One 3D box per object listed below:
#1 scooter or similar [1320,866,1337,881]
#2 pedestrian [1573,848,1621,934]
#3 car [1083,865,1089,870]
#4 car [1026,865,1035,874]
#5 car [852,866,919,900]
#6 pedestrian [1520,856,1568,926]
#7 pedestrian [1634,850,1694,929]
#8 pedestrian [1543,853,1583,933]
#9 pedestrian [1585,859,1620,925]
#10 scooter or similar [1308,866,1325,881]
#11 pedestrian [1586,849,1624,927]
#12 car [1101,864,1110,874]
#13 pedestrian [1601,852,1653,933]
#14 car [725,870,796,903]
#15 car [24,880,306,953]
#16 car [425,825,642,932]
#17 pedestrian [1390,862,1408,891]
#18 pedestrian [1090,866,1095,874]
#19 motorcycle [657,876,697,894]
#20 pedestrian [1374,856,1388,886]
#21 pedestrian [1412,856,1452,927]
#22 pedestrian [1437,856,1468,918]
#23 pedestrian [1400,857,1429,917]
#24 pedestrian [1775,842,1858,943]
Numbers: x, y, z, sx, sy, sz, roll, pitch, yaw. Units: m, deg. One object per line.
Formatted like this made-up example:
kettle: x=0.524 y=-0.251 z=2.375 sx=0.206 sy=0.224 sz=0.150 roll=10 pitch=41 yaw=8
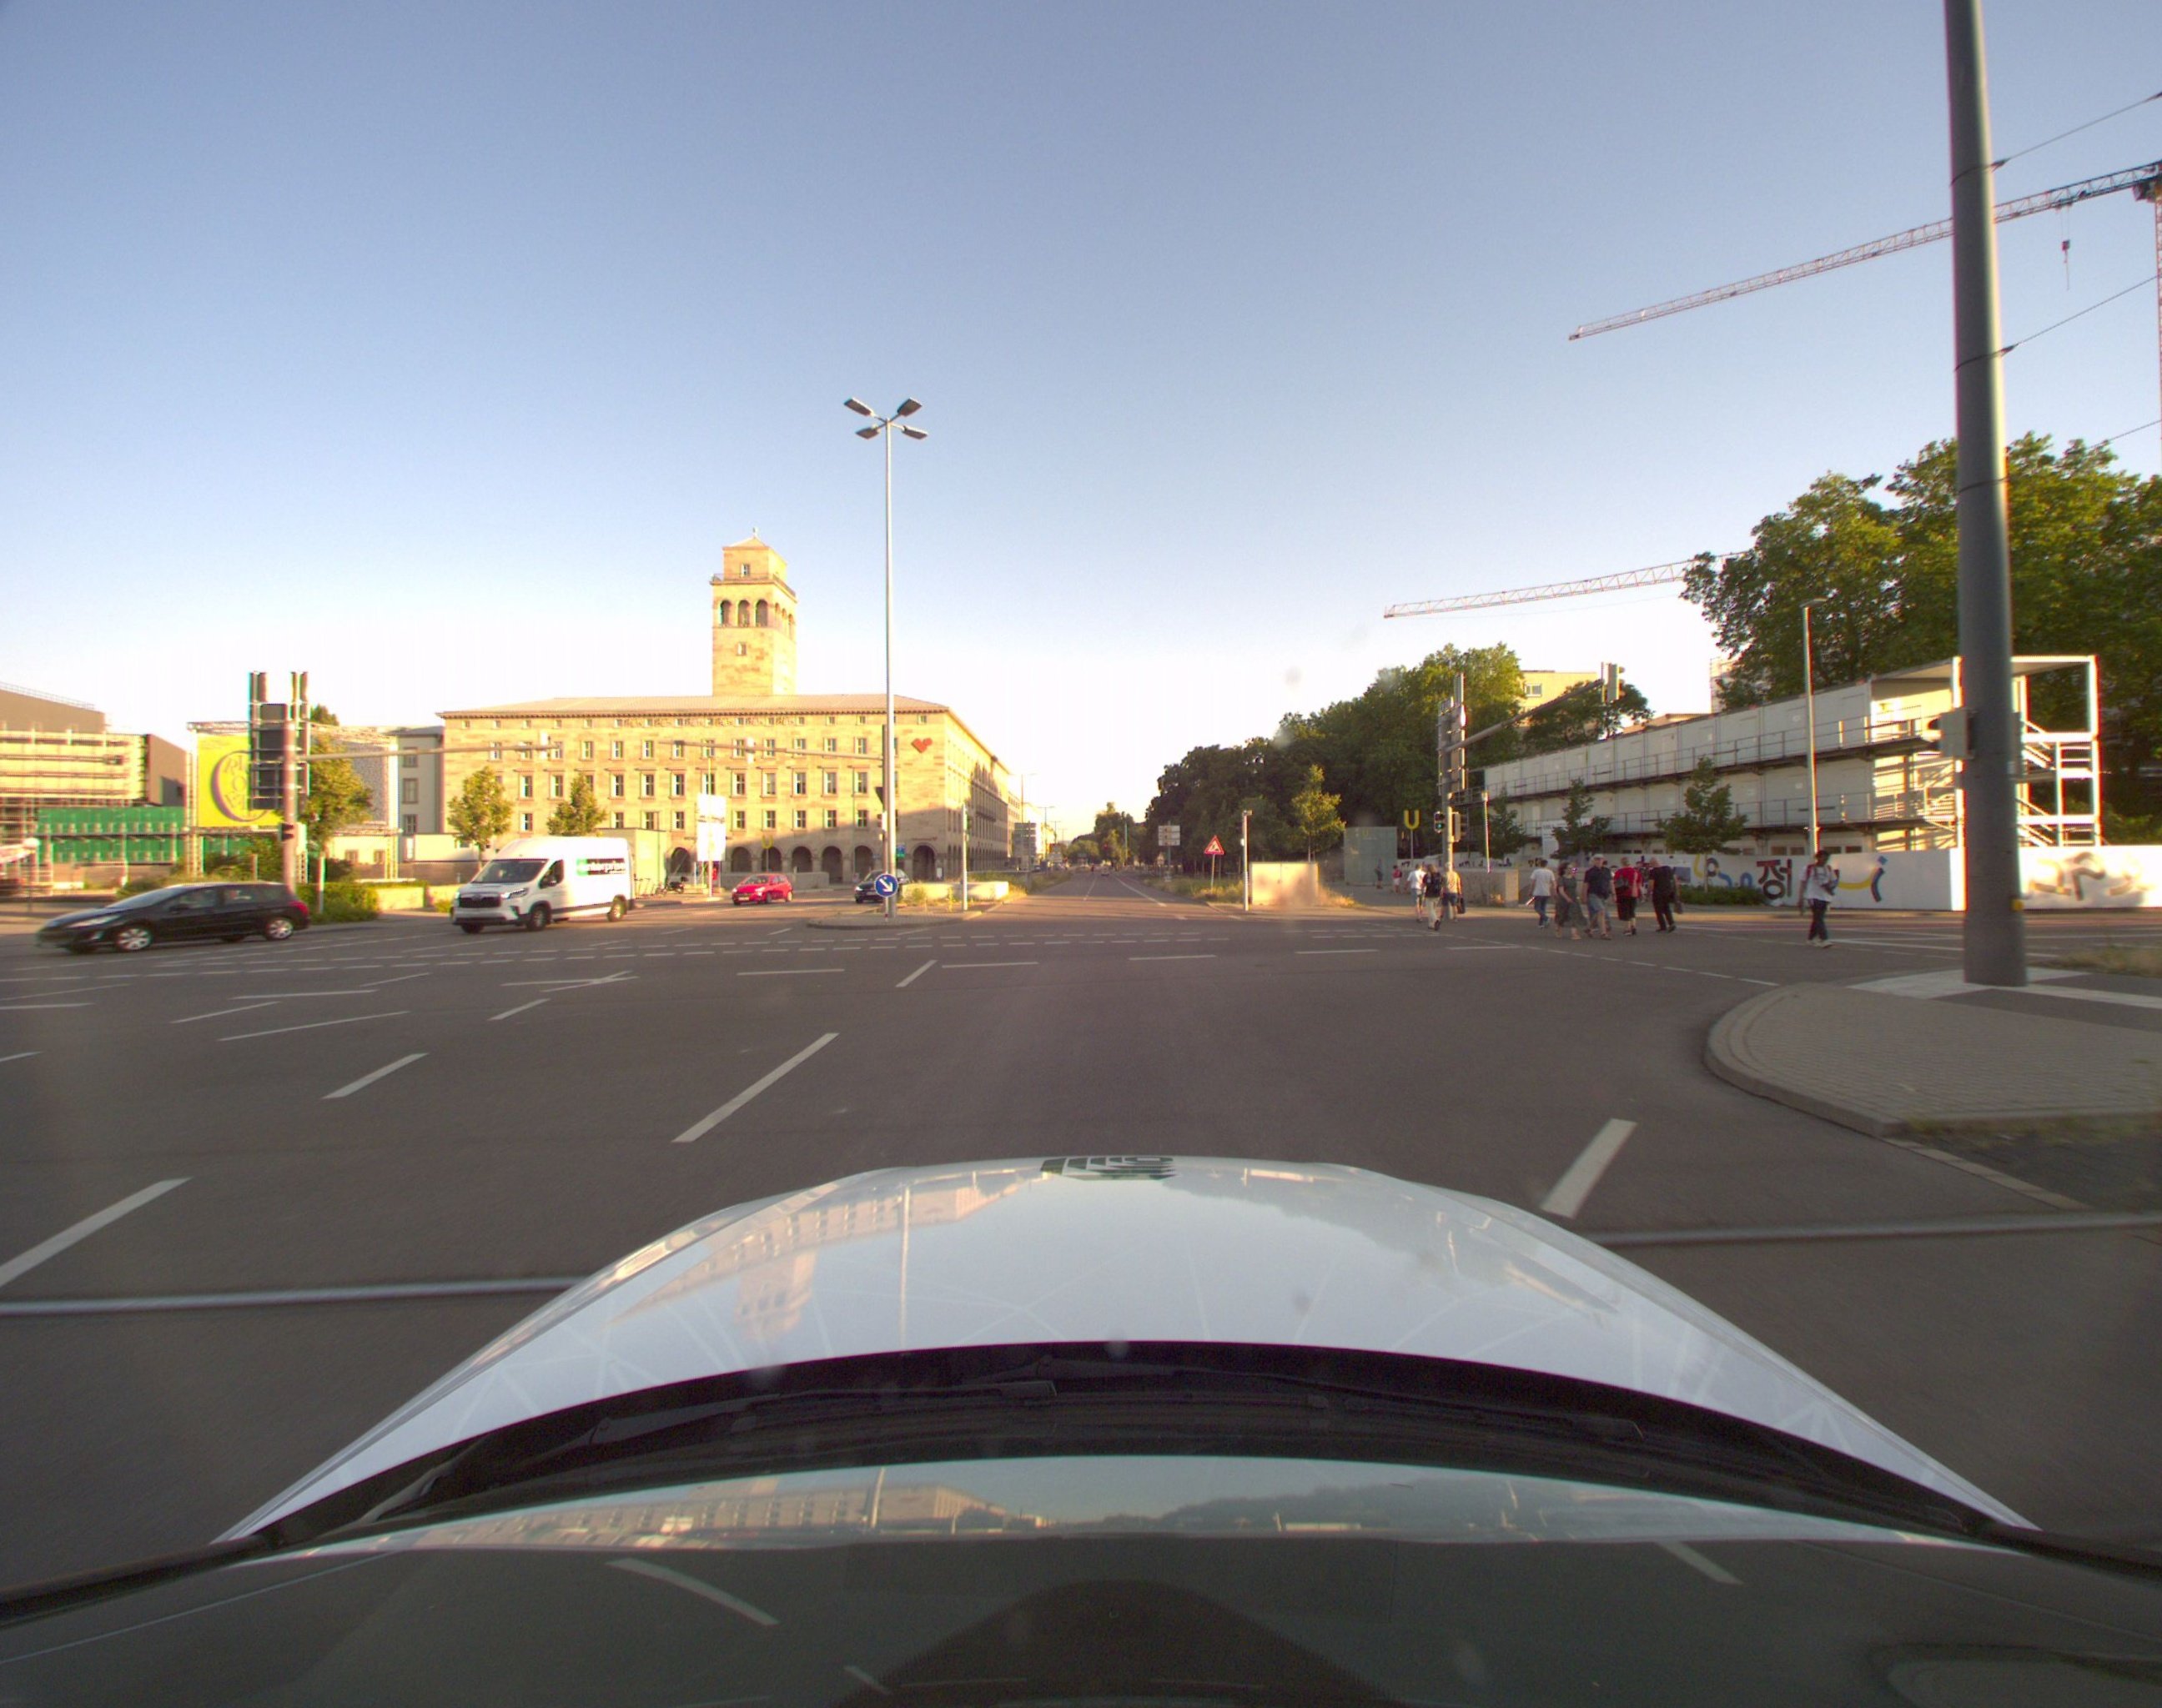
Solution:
scooter or similar: x=21.422 y=1.667 z=70.571 sx=0.567 sy=1.203 sz=2.983 roll=-1 pitch=-1 yaw=0
pedestrian: x=10.966 y=0.766 z=17.329 sx=0.674 sy=1.757 sz=0.907 roll=-1 pitch=-1 yaw=21
car: x=1.331 y=3.212 z=198.367 sx=1.364 sy=1.234 sz=3.047 roll=-1 pitch=0 yaw=2
car: x=-10.170 y=3.099 z=163.847 sx=1.552 sy=1.590 sz=3.998 roll=-1 pitch=0 yaw=-1
car: x=-8.545 y=1.252 z=35.981 sx=1.815 sy=1.342 sz=4.002 roll=-1 pitch=0 yaw=3
pedestrian: x=11.752 y=0.920 z=20.703 sx=0.707 sy=1.725 sz=0.916 roll=-1 pitch=-1 yaw=4
pedestrian: x=13.485 y=0.814 z=18.861 sx=0.801 sy=1.791 sz=0.801 roll=-1 pitch=-1 yaw=3
pedestrian: x=10.337 y=0.816 z=17.485 sx=0.555 sy=1.655 sz=0.907 roll=-1 pitch=-1 yaw=21
pedestrian: x=13.355 y=0.963 z=20.872 sx=0.568 sy=1.679 sz=0.641 roll=-1 pitch=-1 yaw=14
scooter or similar: x=20.403 y=1.663 z=70.575 sx=0.567 sy=1.203 sz=2.983 roll=-1 pitch=-1 yaw=0
pedestrian: x=12.369 y=0.794 z=19.237 sx=0.568 sy=1.791 sz=0.641 roll=-1 pitch=-1 yaw=14
car: x=4.421 y=2.636 z=146.253 sx=1.477 sy=1.696 sz=2.975 roll=-1 pitch=-1 yaw=2
pedestrian: x=12.067 y=0.828 z=18.022 sx=0.697 sy=1.734 sz=0.851 roll=-1 pitch=-1 yaw=16
car: x=-15.667 y=1.552 z=40.011 sx=1.731 sy=1.487 sz=4.002 roll=-1 pitch=0 yaw=3
car: x=-21.842 y=1.415 z=19.710 sx=1.811 sy=1.466 sz=4.170 roll=-1 pitch=0 yaw=10
car: x=-15.917 y=0.681 z=24.280 sx=2.271 sy=2.776 sz=6.084 roll=-1 pitch=-1 yaw=1
pedestrian: x=16.633 y=1.175 z=42.612 sx=0.664 sy=1.449 sz=0.713 roll=-1 pitch=-1 yaw=1
pedestrian: x=2.200 y=3.119 z=157.948 sx=0.904 sy=1.671 sz=1.306 roll=-1 pitch=-1 yaw=-1
motorcycle: x=-27.744 y=2.109 z=55.947 sx=2.307 sy=1.196 sz=0.824 roll=-1 pitch=-1 yaw=-7
pedestrian: x=18.587 y=1.071 z=50.462 sx=0.663 sy=1.842 sz=0.714 roll=-1 pitch=-1 yaw=6
pedestrian: x=8.749 y=0.912 z=20.315 sx=0.706 sy=1.725 sz=0.918 roll=-1 pitch=-1 yaw=11
pedestrian: x=10.670 y=0.939 z=23.407 sx=0.705 sy=1.725 sz=0.671 roll=-1 pitch=-1 yaw=17
pedestrian: x=9.666 y=0.942 z=23.597 sx=0.705 sy=1.725 sz=0.671 roll=-1 pitch=-1 yaw=17
pedestrian: x=13.500 y=0.697 z=14.971 sx=0.800 sy=1.791 sz=0.802 roll=-1 pitch=-1 yaw=8
